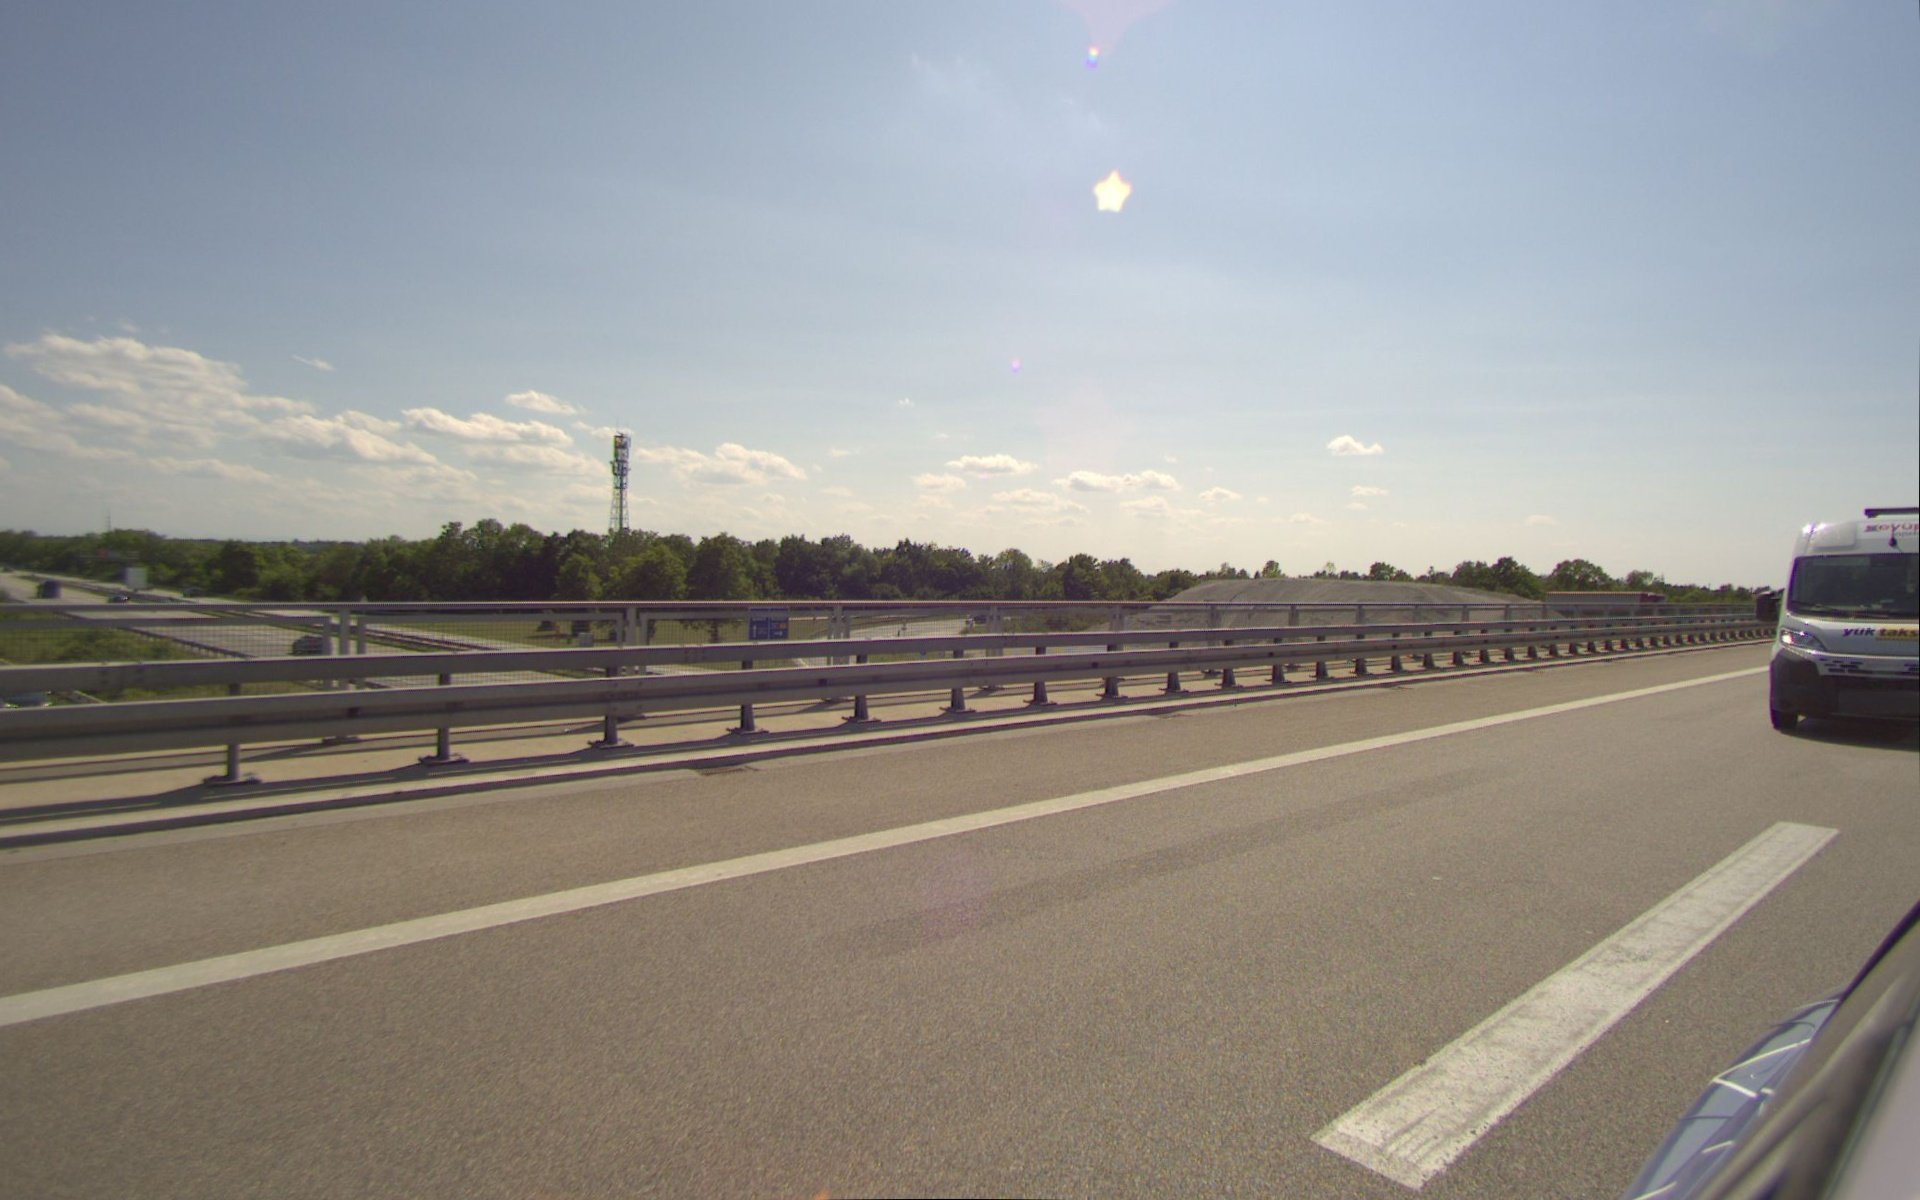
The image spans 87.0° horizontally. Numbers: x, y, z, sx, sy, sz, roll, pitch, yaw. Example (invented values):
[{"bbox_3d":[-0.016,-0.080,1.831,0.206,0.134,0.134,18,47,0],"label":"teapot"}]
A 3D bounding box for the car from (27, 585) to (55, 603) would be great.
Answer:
[{"bbox_3d":[-134.317,-0.861,147.949,5.020,2.478,2.111,2,1,36],"label":"car"}]

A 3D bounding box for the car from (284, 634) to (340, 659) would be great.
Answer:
[{"bbox_3d":[-51.427,3.654,80.231,5.020,1.697,2.111,2,1,36],"label":"car"}]

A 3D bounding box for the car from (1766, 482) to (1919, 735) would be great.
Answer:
[{"bbox_3d":[11.846,0.106,12.481,6.131,2.555,2.085,1,1,-43],"label":"car"}]
